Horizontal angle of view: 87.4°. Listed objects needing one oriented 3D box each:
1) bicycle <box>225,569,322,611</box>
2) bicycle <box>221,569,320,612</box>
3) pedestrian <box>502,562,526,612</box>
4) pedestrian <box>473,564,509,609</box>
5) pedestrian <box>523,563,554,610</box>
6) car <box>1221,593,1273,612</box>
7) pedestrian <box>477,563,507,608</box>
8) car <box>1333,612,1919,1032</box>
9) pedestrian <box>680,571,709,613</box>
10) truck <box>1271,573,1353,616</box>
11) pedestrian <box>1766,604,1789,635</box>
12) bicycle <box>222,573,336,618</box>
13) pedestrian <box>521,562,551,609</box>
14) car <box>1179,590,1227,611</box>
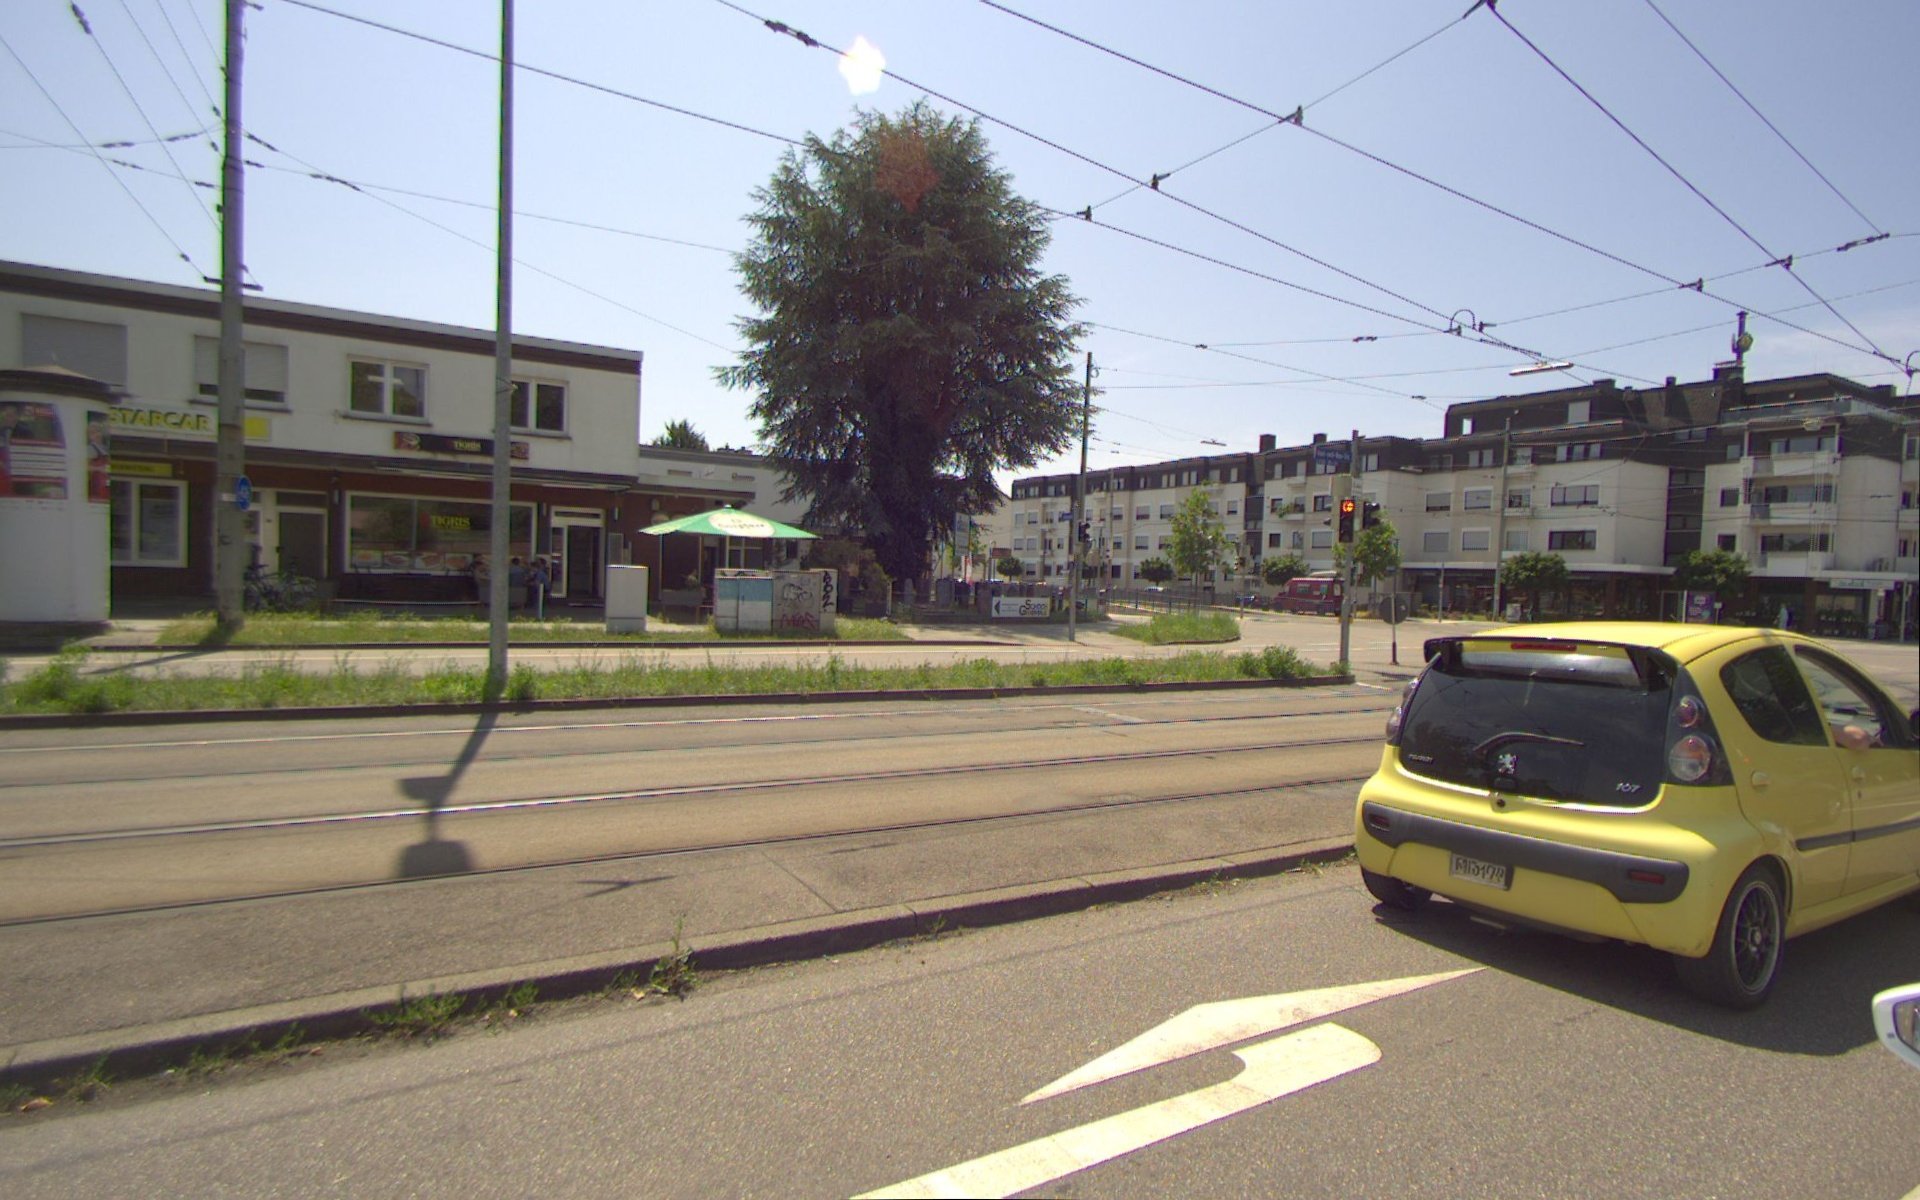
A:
[{"bbox_3d":[-15.497,-0.214,22.713,1.767,0.859,0.525,2,4,-31],"label":"bicycle"},{"bbox_3d":[-15.212,-0.203,22.210,1.767,0.859,0.525,2,4,-31],"label":"bicycle"},{"bbox_3d":[-11.410,-0.340,25.691,0.486,1.255,0.572,1,2,-31],"label":"pedestrian"},{"bbox_3d":[-12.141,-0.344,25.996,0.801,1.142,0.561,1,2,-30],"label":"pedestrian"},{"bbox_3d":[-11.144,-0.348,26.550,0.666,1.215,0.514,1,2,-30],"label":"pedestrian"},{"bbox_3d":[20.947,0.203,73.425,1.571,1.235,3.553,1,1,-29],"label":"car"},{"bbox_3d":[-12.416,-0.387,26.640,0.666,1.179,0.514,1,2,-30],"label":"pedestrian"},{"bbox_3d":[3.759,0.826,5.114,3.614,1.440,1.607,2,-1,-31],"label":"car"},{"bbox_3d":[-7.521,-0.230,28.491,0.666,1.142,0.514,1,2,-30],"label":"pedestrian"},{"bbox_3d":[23.843,-0.385,68.147,2.161,2.734,5.002,1,1,-29],"label":"truck"},{"bbox_3d":[47.146,1.111,57.938,0.694,1.719,0.800,1,2,-33],"label":"pedestrian"},{"bbox_3d":[-14.376,-0.093,21.260,1.936,0.859,0.599,2,4,-31],"label":"bicycle"},{"bbox_3d":[-11.454,-0.399,27.146,0.666,1.225,0.514,1,2,-30],"label":"pedestrian"},{"bbox_3d":[18.682,0.010,77.194,1.571,1.452,3.553,1,1,-29],"label":"car"}]
